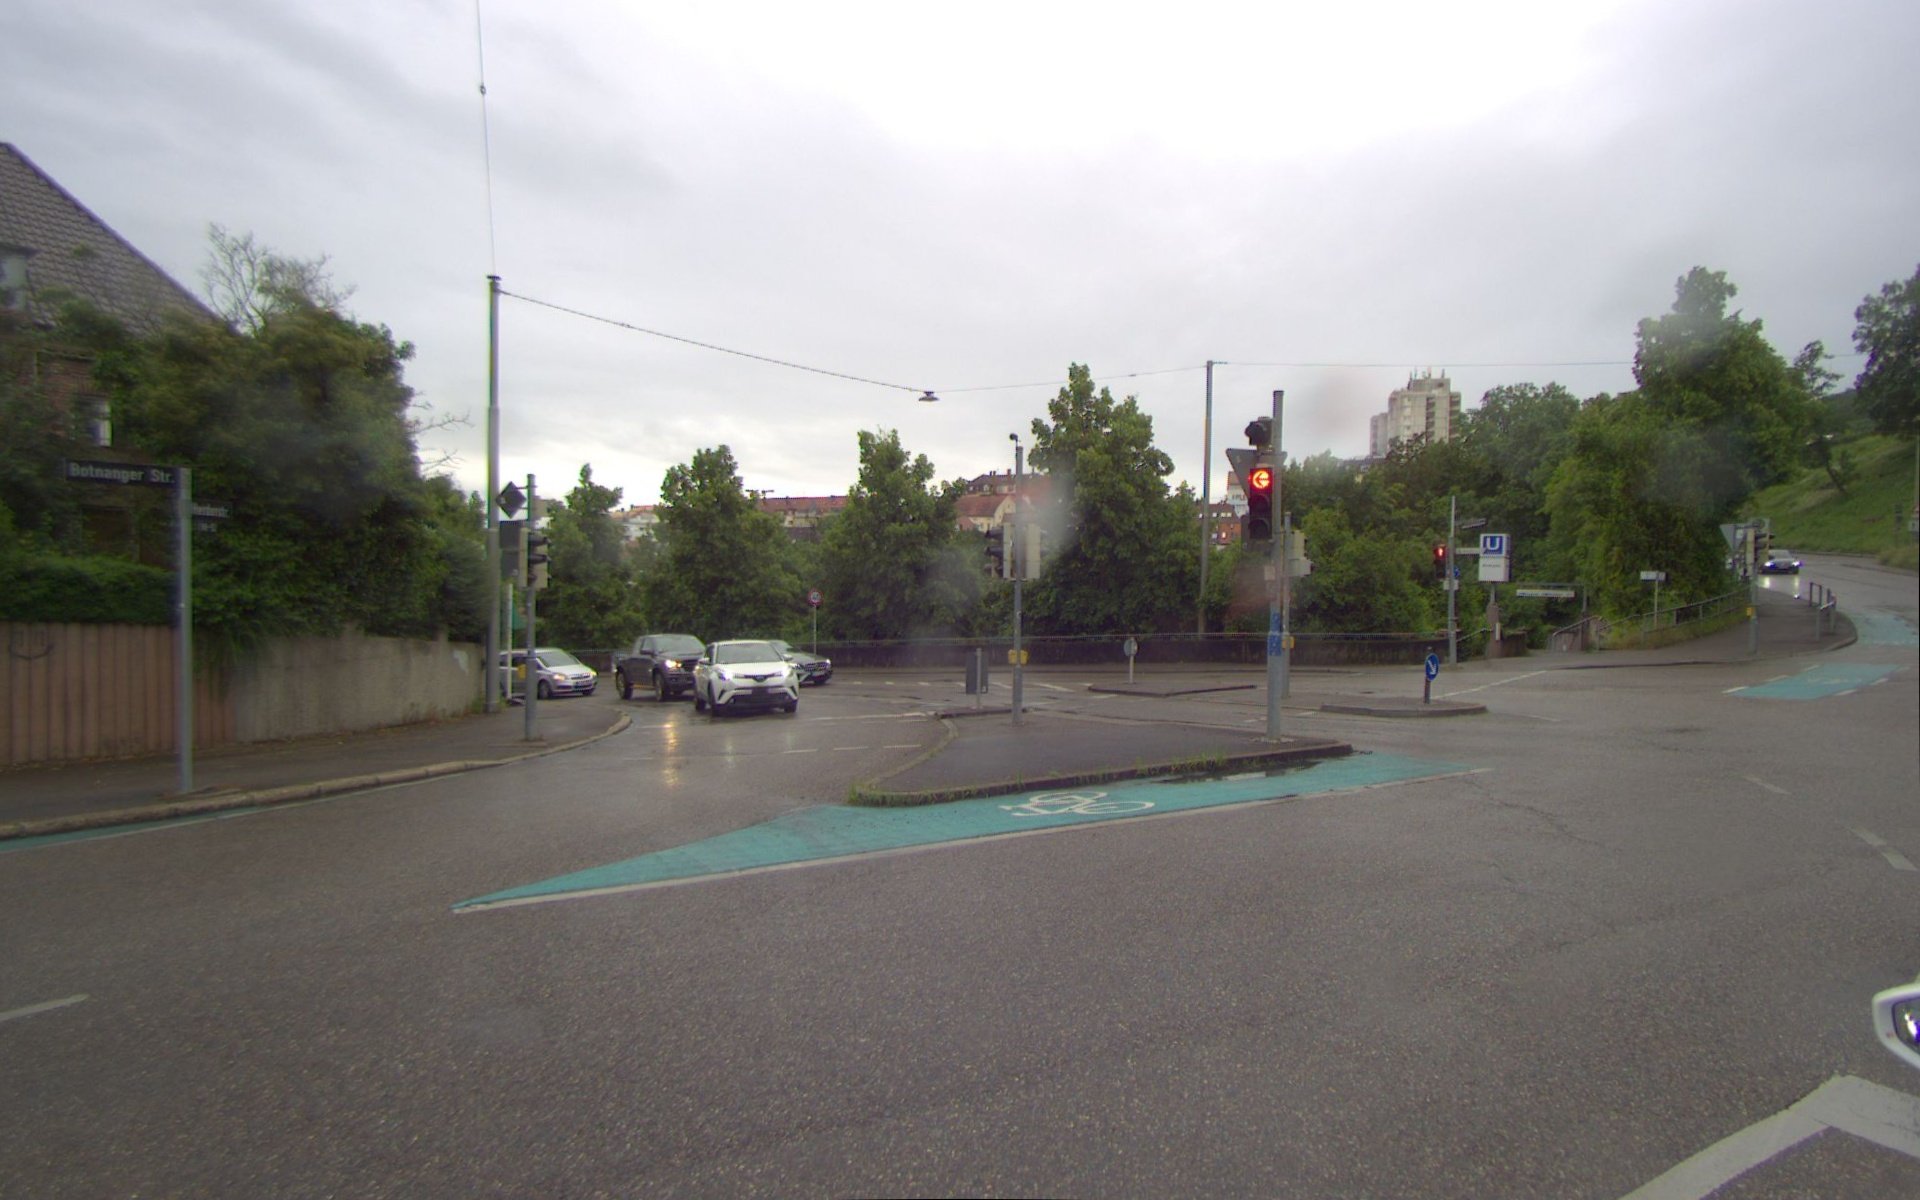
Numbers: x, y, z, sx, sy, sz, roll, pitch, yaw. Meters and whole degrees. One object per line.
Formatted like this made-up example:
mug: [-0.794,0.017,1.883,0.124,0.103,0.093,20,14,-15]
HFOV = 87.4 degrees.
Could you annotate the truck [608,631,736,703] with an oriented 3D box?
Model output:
truck: [-8.361,1.937,28.818,1.890,1.809,4.940,-2,-3,-36]

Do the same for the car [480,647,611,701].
car: [-13.902,2.443,33.633,4.238,1.653,1.853,-2,-1,31]

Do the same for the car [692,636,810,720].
car: [-4.585,1.632,21.621,1.810,1.527,3.866,-2,-2,-21]

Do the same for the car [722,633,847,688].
car: [-5.650,1.893,31.894,1.964,1.527,4.439,-2,-1,-39]

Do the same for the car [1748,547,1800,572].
car: [51.425,-2.558,63.549,1.928,1.532,4.393,1,3,31]
